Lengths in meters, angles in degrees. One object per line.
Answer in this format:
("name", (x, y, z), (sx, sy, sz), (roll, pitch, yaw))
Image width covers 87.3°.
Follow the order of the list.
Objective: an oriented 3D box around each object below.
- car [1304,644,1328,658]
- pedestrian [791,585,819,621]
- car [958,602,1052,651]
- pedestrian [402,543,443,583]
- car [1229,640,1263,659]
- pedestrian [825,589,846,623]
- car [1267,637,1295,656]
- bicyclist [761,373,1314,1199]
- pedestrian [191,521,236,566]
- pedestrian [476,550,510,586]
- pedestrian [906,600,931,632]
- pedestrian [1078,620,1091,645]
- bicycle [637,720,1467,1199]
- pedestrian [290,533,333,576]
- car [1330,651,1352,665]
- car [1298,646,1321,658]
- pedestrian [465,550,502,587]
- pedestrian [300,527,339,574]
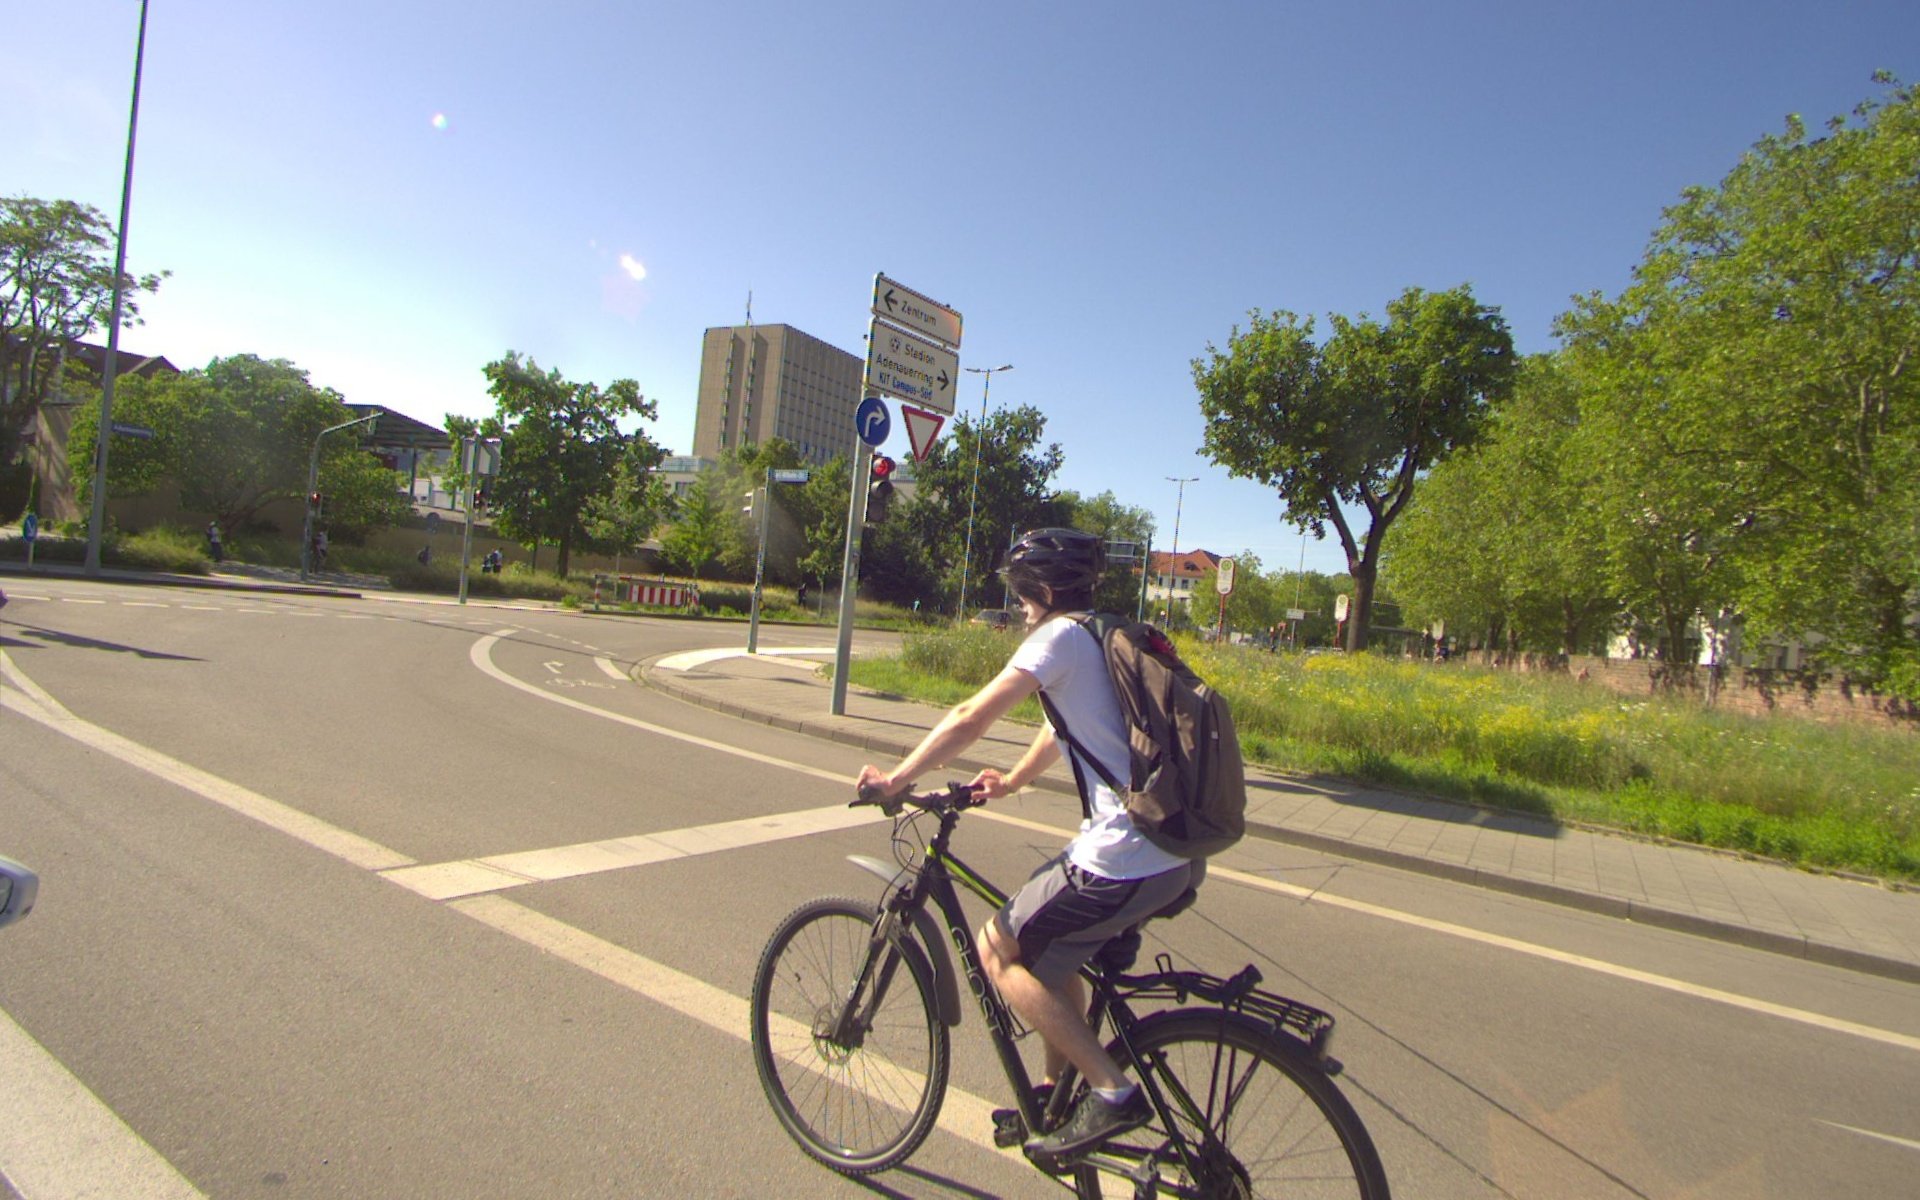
("car", (44.102, 6.329, 124.587), (1.967, 1.378, 4.001), (7, 0, 31))
("pedestrian", (-9.473, 0.188, 61.593), (0.966, 2.106, 1.186), (7, 1, 35))
("car", (1.778, 1.053, 38.678), (1.714, 1.535, 3.989), (7, 0, 33))
("pedestrian", (-23.287, -1.592, 43.586), (0.927, 1.540, 1.145), (7, 1, 38))
("car", (29.586, 5.130, 103.911), (1.882, 1.625, 4.124), (7, 0, 37))
("pedestrian", (-8.193, 0.408, 66.269), (0.800, 2.106, 0.896), (7, 1, 35))
("car", (35.977, 5.172, 112.728), (1.968, 1.666, 3.993), (6, -2, 33))
("bicyclist", (0.206, 0.461, 2.409), (0.924, 1.806, 0.678), (6, -1, 30))
("pedestrian", (-27.869, -2.108, 37.562), (0.917, 1.540, 1.083), (7, 1, 41))
("pedestrian", (-21.439, -1.469, 46.197), (0.871, 1.540, 0.971), (7, 1, 35))
("pedestrian", (-3.026, 1.175, 72.821), (1.065, 2.106, 1.231), (7, 1, 35))
("pedestrian", (11.353, 2.985, 91.910), (0.633, 2.194, 0.912), (7, 1, 35))
("bicycle", (0.144, 1.010, 2.433), (1.795, 1.152, 0.616), (7, 0, 30))
("pedestrian", (-25.291, -1.771, 39.223), (0.865, 1.540, 1.074), (7, 1, 36))
("car", (55.627, 8.458, 146.766), (1.968, 1.625, 4.506), (7, 0, 34))
("car", (46.012, 6.847, 132.321), (1.967, 1.378, 4.001), (7, 0, 31))
("pedestrian", (-22.067, -1.471, 46.596), (0.975, 1.540, 1.129), (7, 1, 35))
("pedestrian", (-26.014, -2.004, 40.888), (0.912, 1.754, 0.962), (7, 1, 38))
